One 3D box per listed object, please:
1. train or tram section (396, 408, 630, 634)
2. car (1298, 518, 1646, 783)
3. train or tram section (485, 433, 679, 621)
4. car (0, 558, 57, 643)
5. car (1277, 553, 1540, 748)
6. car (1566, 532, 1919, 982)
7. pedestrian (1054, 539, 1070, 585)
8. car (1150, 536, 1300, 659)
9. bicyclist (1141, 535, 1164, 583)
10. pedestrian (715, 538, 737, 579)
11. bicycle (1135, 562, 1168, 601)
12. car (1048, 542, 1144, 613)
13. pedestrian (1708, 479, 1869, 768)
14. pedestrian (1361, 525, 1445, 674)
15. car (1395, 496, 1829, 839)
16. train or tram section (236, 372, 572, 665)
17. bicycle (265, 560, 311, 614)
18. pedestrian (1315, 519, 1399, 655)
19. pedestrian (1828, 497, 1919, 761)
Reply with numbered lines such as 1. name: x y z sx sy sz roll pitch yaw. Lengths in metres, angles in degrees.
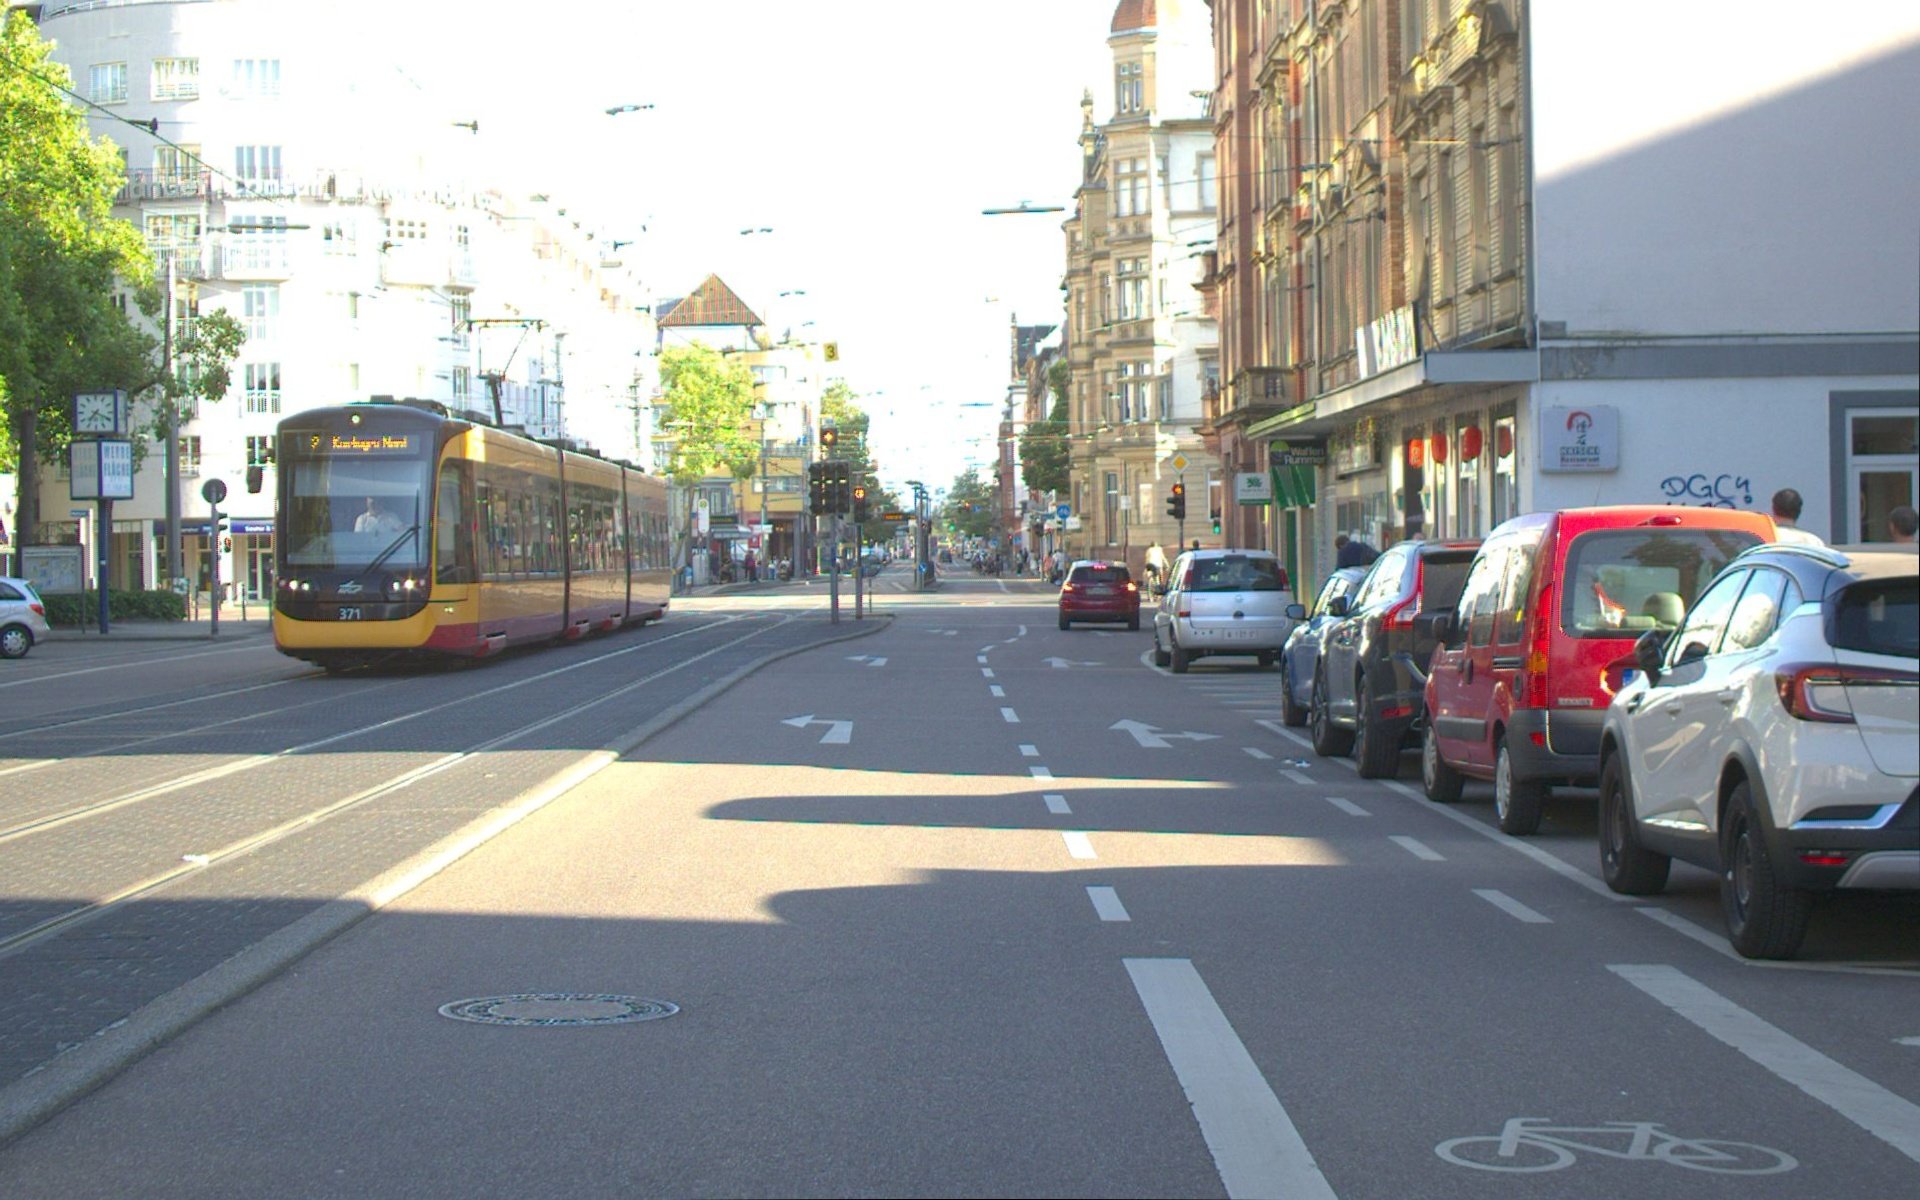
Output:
1. train or tram section: -7.653 -1.328 60.357 2.675 3.539 11.127 -1 1 0
2. car: 3.627 0.296 25.096 1.820 1.751 4.475 0 1 -1
3. train or tram section: -7.772 -1.486 72.338 2.675 3.539 12.842 -1 1 0
4. car: -18.953 0.002 63.102 4.266 1.561 1.827 0 0 -31
5. car: 3.815 0.389 29.808 1.637 1.487 3.795 1 2 -2
6. car: 3.787 0.519 14.338 1.787 1.590 4.326 0 1 1
7. pedestrian: 4.467 -1.669 150.830 0.651 2.007 0.760 -1 1 -1
8. car: 3.579 -0.066 47.038 1.637 1.609 3.945 0 1 -2
9. bicyclist: 5.644 -1.196 100.732 0.421 1.404 0.658 -1 1 26
10. pedestrian: -11.530 -2.036 169.510 0.956 2.007 1.049 -1 1 0
11. bicycle: 5.613 -0.541 100.639 0.421 1.092 1.411 -1 1 26
12. car: 2.879 -0.506 73.524 1.754 1.461 3.946 1 1 -2
13. pedestrian: 5.604 0.146 23.310 0.793 1.892 1.033 -1 1 -1
14. pedestrian: 5.372 -0.009 41.728 0.787 1.732 0.946 -4 0 -1
15. car: 3.715 0.321 20.297 1.675 1.802 4.249 0 1 -1
16. train or tram section: -7.547 -1.084 48.556 2.758 3.539 12.468 -1 1 0
17. bicycle: -17.087 -0.327 87.442 0.671 1.322 1.906 2 1 3
18. pedestrian: 5.379 -0.184 46.593 0.946 1.786 1.055 -2 1 -1
19. pedestrian: 6.492 0.179 23.484 0.810 1.750 1.033 -1 1 -1
